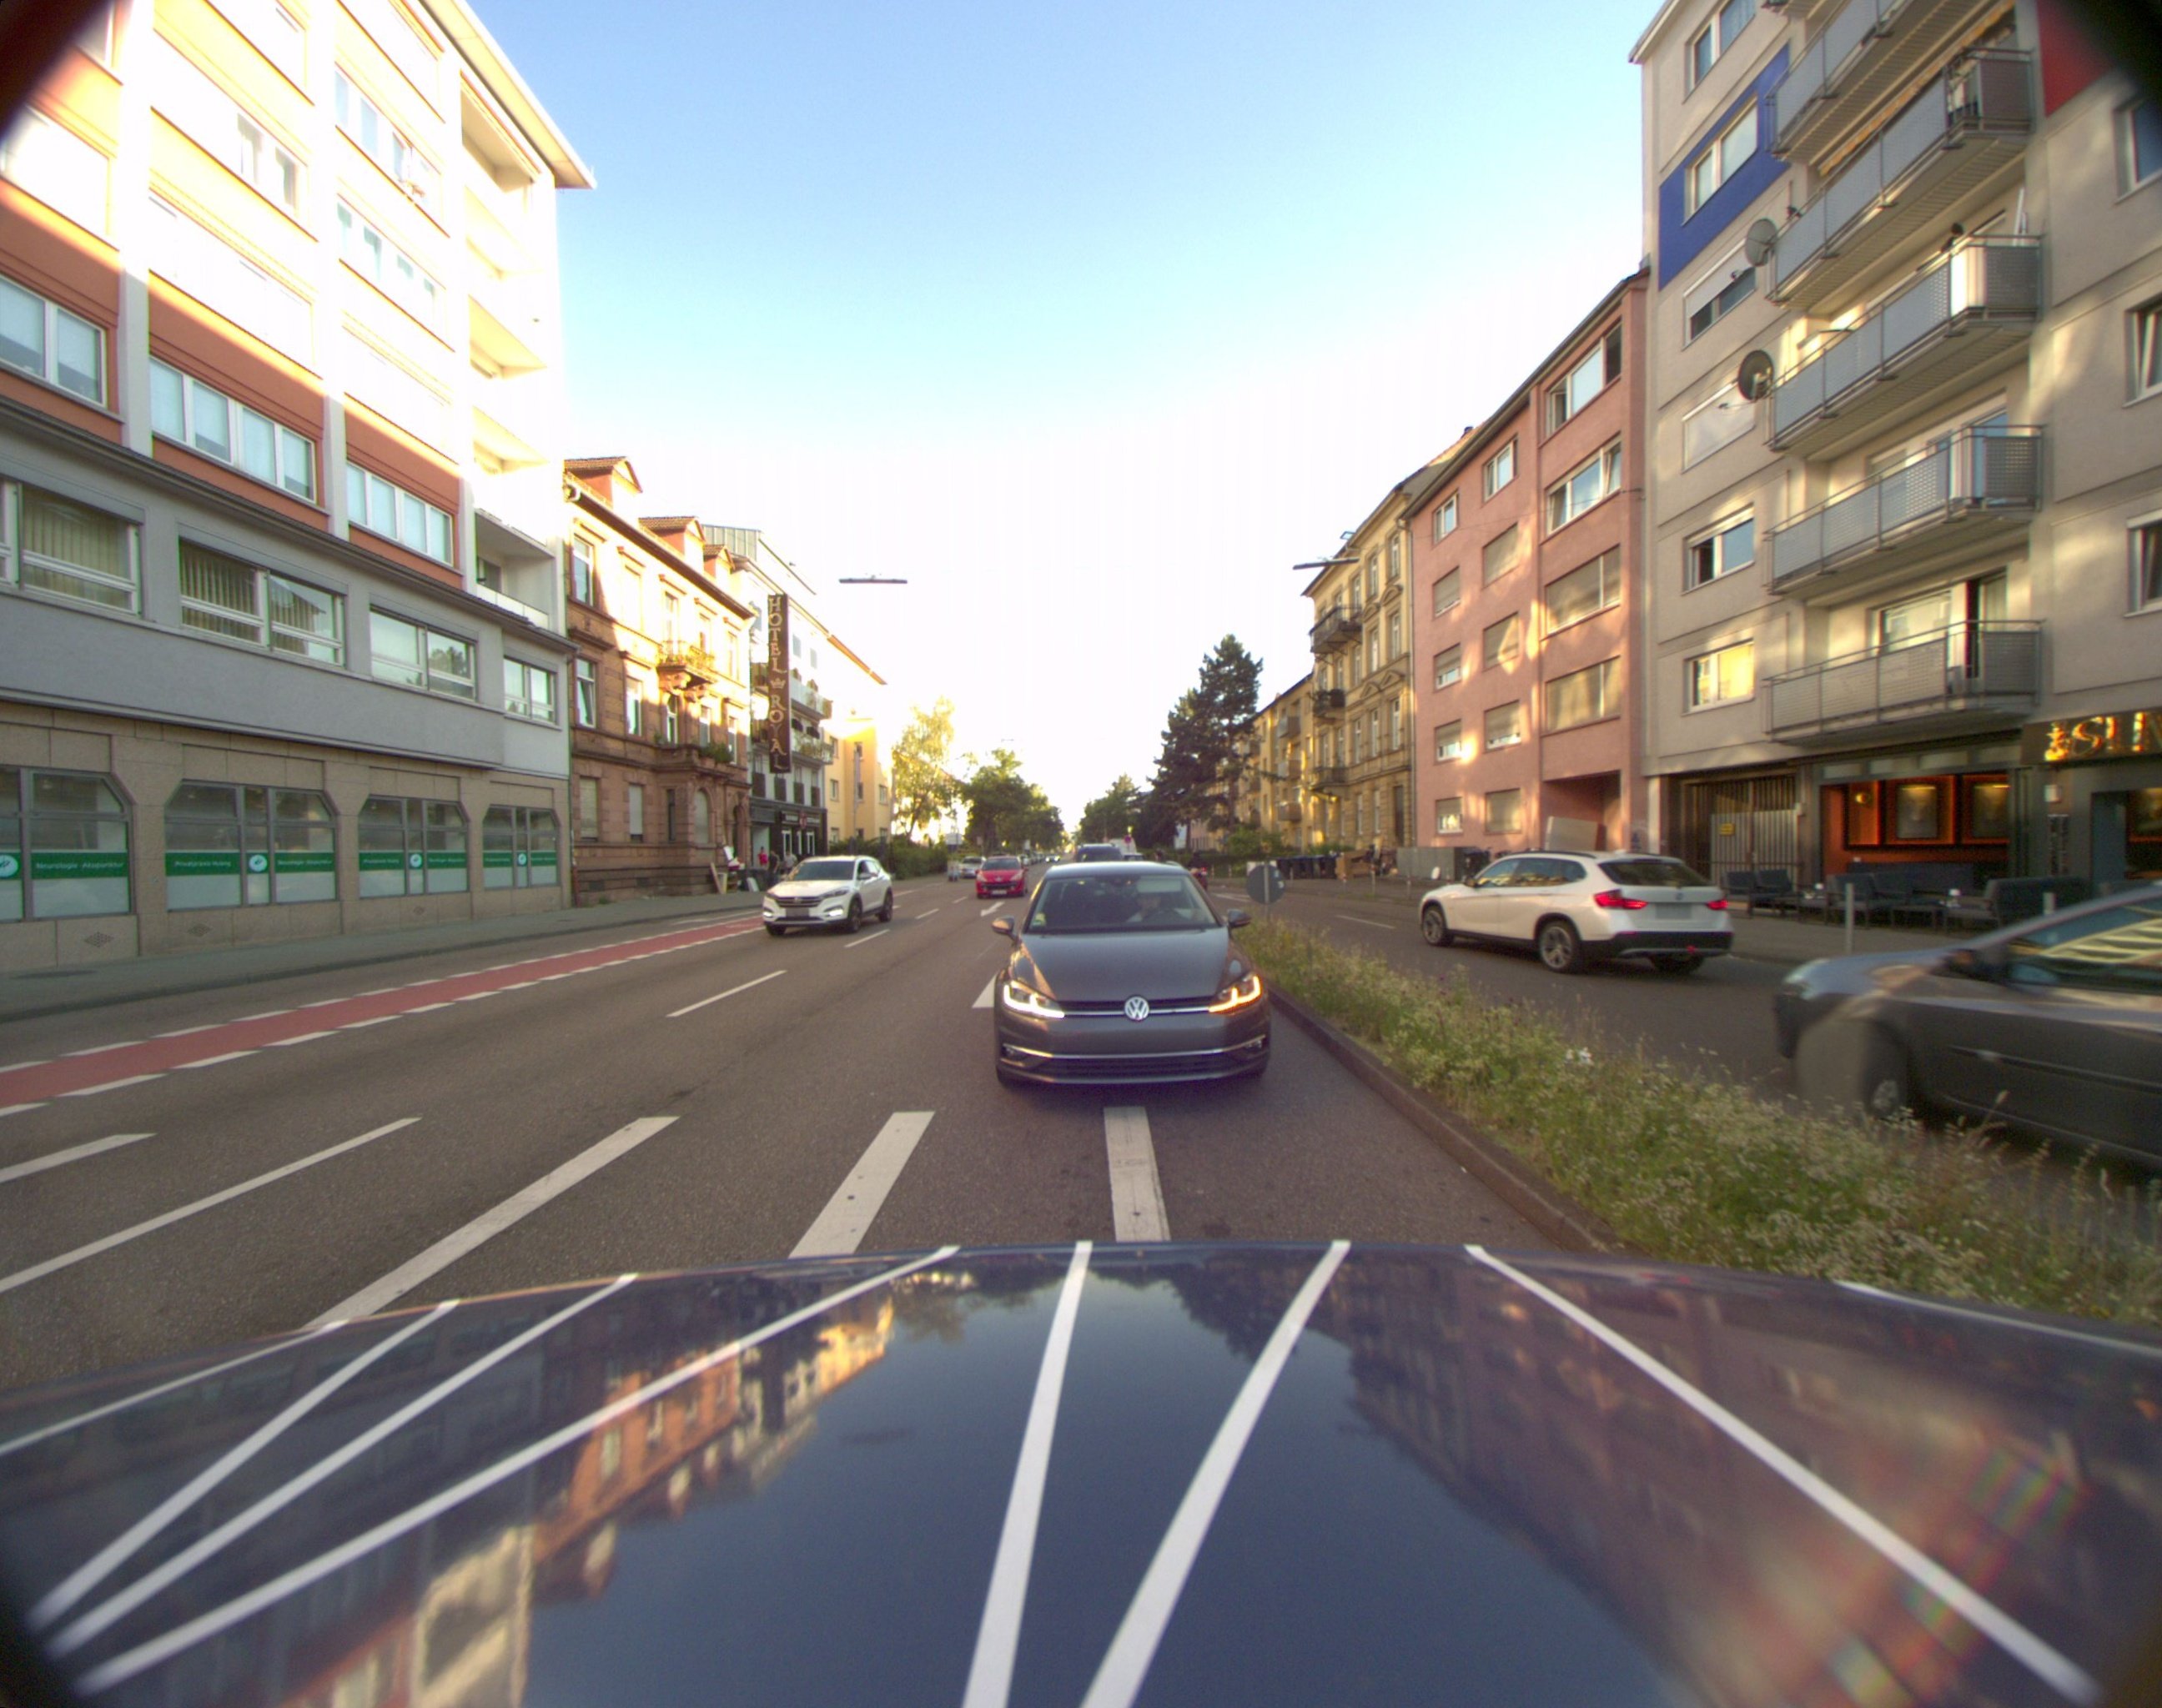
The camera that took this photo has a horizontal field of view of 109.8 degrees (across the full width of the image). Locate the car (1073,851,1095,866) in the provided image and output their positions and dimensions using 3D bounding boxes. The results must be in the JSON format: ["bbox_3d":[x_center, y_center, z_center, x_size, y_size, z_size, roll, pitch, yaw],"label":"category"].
[{"bbox_3d":[0.280,0.431,73.589,1.895,1.382,4.267,0,0,-2],"label":"car"}]

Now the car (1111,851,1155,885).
[{"bbox_3d":[2.491,0.644,37.062,1.596,1.533,3.402,0,1,-5],"label":"car"}]

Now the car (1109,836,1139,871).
[{"bbox_3d":[3.412,-0.072,61.232,2.136,2.740,4.465,0,1,0],"label":"car"}]

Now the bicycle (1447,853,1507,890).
[{"bbox_3d":[13.238,0.575,25.407,1.780,1.184,0.473,-1,1,-2],"label":"bicycle"}]

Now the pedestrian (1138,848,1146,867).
[{"bbox_3d":[5.043,0.290,62.988,0.577,1.591,0.481,-1,1,1],"label":"pedestrian"}]

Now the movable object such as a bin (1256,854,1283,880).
[{"bbox_3d":[9.451,0.645,38.122,0.847,1.225,1.196,0,1,42],"label":"movable object such as a bin"}]

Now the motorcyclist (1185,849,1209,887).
[{"bbox_3d":[4.432,0.539,29.023,0.750,1.433,0.958,0,1,-1],"label":"motorcyclist"}]

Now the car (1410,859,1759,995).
[{"bbox_3d":[6.559,0.819,10.594,1.758,1.479,4.246,0,0,-6],"label":"car"}]

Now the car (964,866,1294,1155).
[{"bbox_3d":[0.294,0.904,6.343,1.770,1.450,4.269,-2,0,1],"label":"car"}]

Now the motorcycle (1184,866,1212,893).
[{"bbox_3d":[4.447,0.971,29.039,0.750,0.957,2.048,0,0,-1],"label":"motorcycle"}]

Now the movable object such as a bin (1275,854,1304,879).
[{"bbox_3d":[10.315,0.618,37.626,1.196,1.225,0.847,-2,1,-40],"label":"movable object such as a bin"}]

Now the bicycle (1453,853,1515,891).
[{"bbox_3d":[13.157,0.585,24.828,1.780,1.184,0.473,-1,1,-2],"label":"bicycle"}]

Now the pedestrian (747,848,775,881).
[{"bbox_3d":[-15.772,0.508,37.440,1.008,1.579,0.740,4,1,32],"label":"pedestrian"}]

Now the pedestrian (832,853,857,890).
[{"bbox_3d":[-10.572,0.774,33.969,0.738,1.593,1.011,2,1,4],"label":"pedestrian"}]

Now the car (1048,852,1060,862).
[{"bbox_3d":[-4.548,0.494,127.470,1.907,1.532,3.999,-1,1,0],"label":"car"}]

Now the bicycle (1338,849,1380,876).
[{"bbox_3d":[12.726,0.380,34.796,1.780,1.184,0.473,-1,1,-2],"label":"bicycle"}]

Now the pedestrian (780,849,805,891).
[{"bbox_3d":[-12.111,0.656,31.897,0.668,1.716,1.011,-1,1,-2],"label":"pedestrian"}]

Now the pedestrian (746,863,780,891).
[{"bbox_3d":[-13.733,0.993,32.856,1.100,1.129,0.924,-1,1,-2],"label":"pedestrian"}]

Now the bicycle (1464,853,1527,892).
[{"bbox_3d":[13.136,0.587,24.095,1.780,1.184,0.473,-1,1,-2],"label":"bicycle"}]

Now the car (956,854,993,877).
[{"bbox_3d":[-7.371,0.758,53.050,1.905,1.508,4.074,-1,0,1],"label":"car"}]

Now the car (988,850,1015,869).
[{"bbox_3d":[-7.181,0.463,68.844,1.947,1.615,4.193,-1,0,0],"label":"car"}]

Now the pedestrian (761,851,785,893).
[{"bbox_3d":[-12.908,0.743,31.867,0.668,1.716,1.010,-1,1,-5],"label":"pedestrian"}]

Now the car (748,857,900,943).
[{"bbox_3d":[-5.663,0.935,17.391,1.921,1.598,4.269,-2,1,1],"label":"car"}]

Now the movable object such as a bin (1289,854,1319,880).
[{"bbox_3d":[10.843,0.606,36.921,1.196,1.225,0.847,-2,1,-40],"label":"movable object such as a bin"}]

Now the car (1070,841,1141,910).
[{"bbox_3d":[0.643,0.557,22.633,1.895,1.843,4.466,0,1,0],"label":"car"}]

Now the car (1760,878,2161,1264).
[{"bbox_3d":[5.051,0.881,2.764,1.596,1.462,3.985,0,0,0],"label":"car"}]

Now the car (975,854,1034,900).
[{"bbox_3d":[-2.771,0.798,28.253,1.674,1.454,3.999,-2,1,1],"label":"car"}]

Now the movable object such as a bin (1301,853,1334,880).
[{"bbox_3d":[11.235,0.599,36.027,1.295,1.225,0.926,-2,1,-40],"label":"movable object such as a bin"}]

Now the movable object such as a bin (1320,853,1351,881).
[{"bbox_3d":[11.809,0.587,35.282,1.196,1.225,0.847,-2,1,-40],"label":"movable object such as a bin"}]
